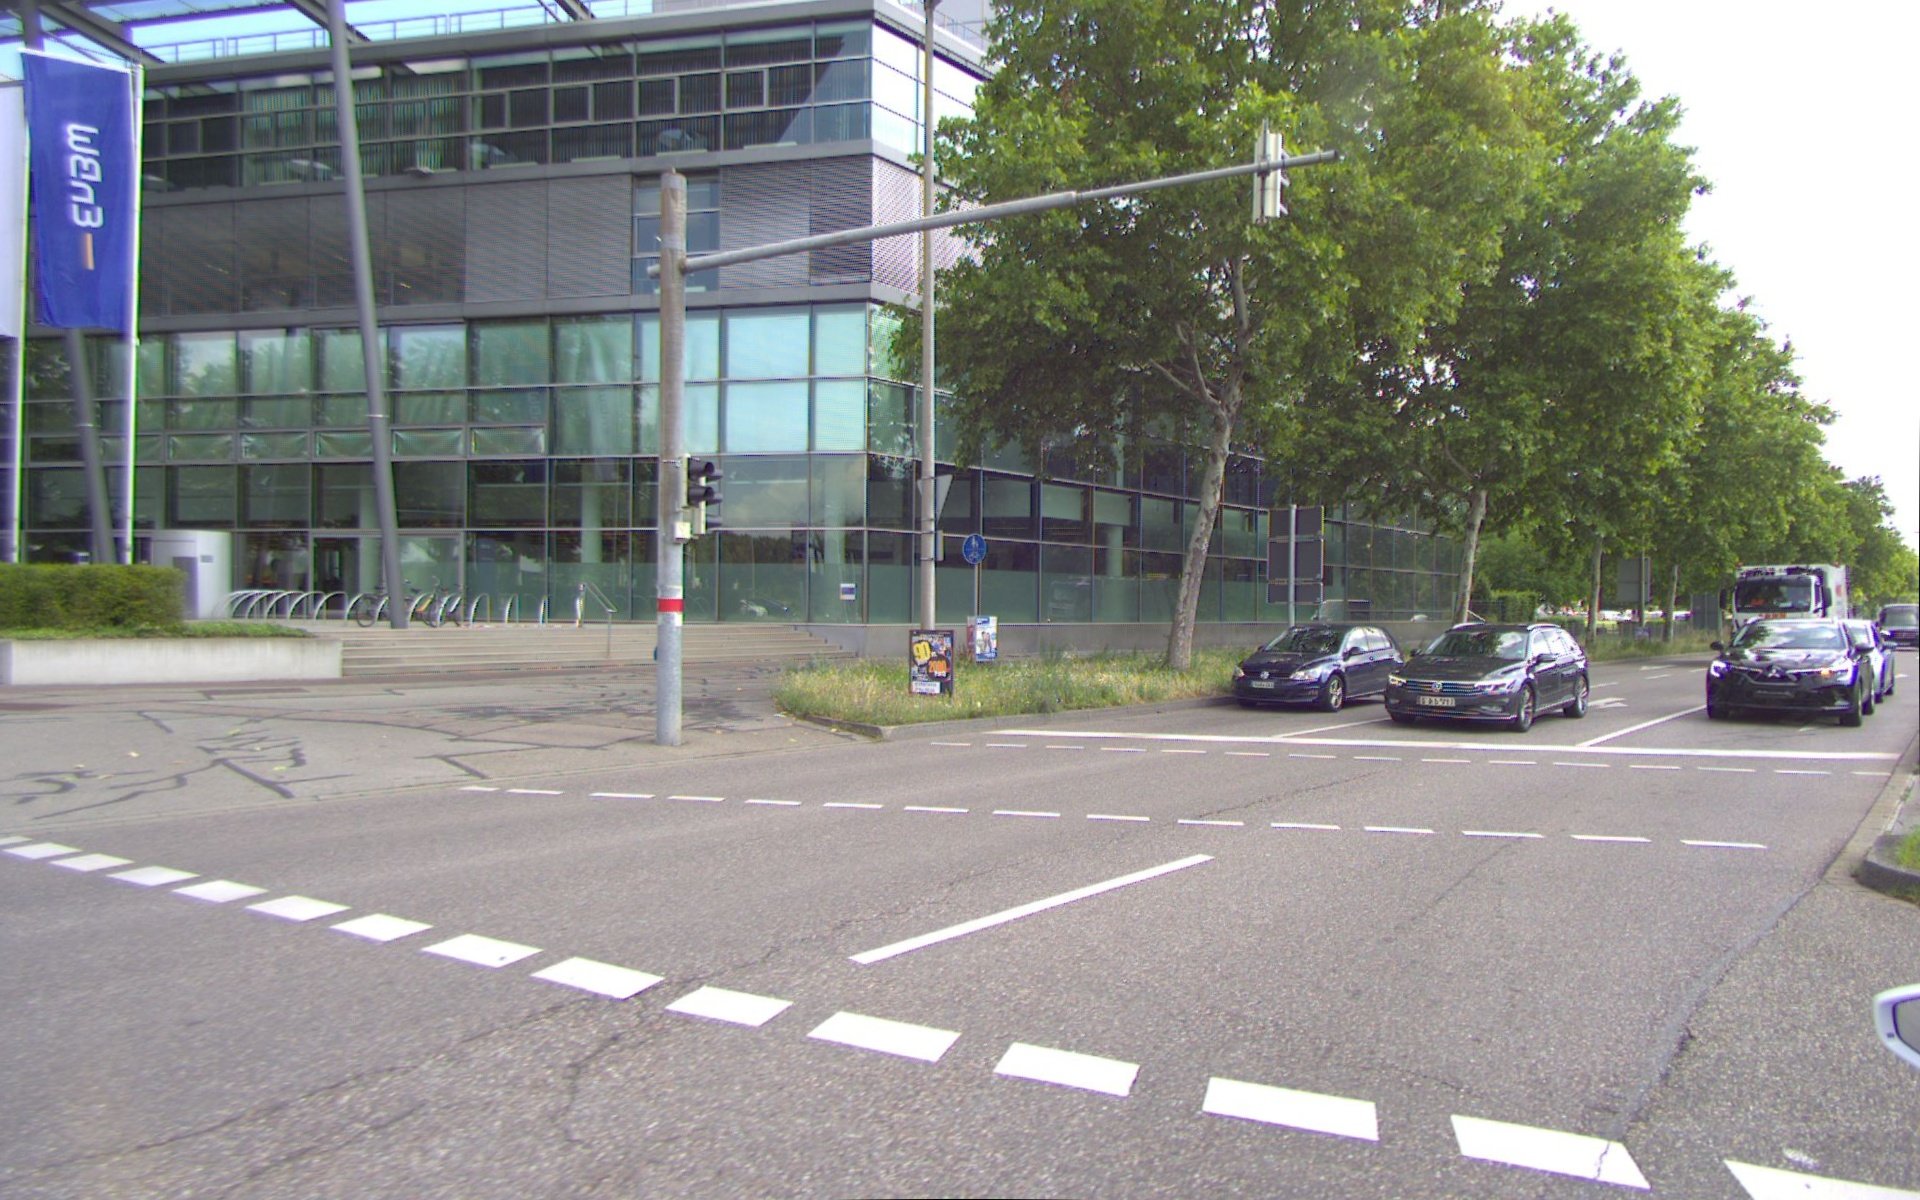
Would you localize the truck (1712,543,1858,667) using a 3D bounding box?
[{"bbox_3d":[29.900,0.286,36.180,10.087,3.938,2.626,1,-3,-43],"label":"truck"}]

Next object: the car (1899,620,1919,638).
[{"bbox_3d":[91.047,2.734,96.012,1.795,1.661,4.325,-5,-4,44],"label":"car"}]

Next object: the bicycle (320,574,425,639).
[{"bbox_3d":[-13.927,0.179,23.883,0.727,1.402,2.141,1,-4,18],"label":"bicycle"}]

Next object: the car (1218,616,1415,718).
[{"bbox_3d":[6.371,1.151,17.733,3.973,1.592,1.712,3,-3,-44],"label":"car"}]

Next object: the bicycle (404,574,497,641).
[{"bbox_3d":[-12.150,0.211,24.034,0.677,1.459,2.182,2,-4,13],"label":"bicycle"}]

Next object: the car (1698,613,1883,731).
[{"bbox_3d":[13.164,1.035,15.830,4.331,1.608,1.692,1,-2,-43],"label":"car"}]

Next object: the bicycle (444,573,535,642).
[{"bbox_3d":[-11.115,0.212,23.817,0.677,1.459,2.182,2,-4,13],"label":"bicycle"}]

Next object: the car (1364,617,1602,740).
[{"bbox_3d":[8.043,1.066,15.248,4.537,1.595,1.847,1,-2,-44],"label":"car"}]

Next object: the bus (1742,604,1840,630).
[{"bbox_3d":[123.104,2.670,149.176,3.062,3.317,12.327,-1,-3,-8],"label":"bus"}]

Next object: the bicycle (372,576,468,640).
[{"bbox_3d":[-12.977,0.222,24.219,0.727,1.402,2.142,2,-4,14],"label":"bicycle"}]

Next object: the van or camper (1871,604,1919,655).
[{"bbox_3d":[53.254,1.665,56.964,2.083,2.694,6.677,-4,-3,43],"label":"van or camper"}]

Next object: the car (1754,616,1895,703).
[{"bbox_3d":[17.639,1.188,20.432,4.205,1.572,1.728,2,-5,-44],"label":"car"}]

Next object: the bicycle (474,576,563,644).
[{"bbox_3d":[-10.387,0.266,23.747,0.677,1.459,2.182,2,-4,13],"label":"bicycle"}]
